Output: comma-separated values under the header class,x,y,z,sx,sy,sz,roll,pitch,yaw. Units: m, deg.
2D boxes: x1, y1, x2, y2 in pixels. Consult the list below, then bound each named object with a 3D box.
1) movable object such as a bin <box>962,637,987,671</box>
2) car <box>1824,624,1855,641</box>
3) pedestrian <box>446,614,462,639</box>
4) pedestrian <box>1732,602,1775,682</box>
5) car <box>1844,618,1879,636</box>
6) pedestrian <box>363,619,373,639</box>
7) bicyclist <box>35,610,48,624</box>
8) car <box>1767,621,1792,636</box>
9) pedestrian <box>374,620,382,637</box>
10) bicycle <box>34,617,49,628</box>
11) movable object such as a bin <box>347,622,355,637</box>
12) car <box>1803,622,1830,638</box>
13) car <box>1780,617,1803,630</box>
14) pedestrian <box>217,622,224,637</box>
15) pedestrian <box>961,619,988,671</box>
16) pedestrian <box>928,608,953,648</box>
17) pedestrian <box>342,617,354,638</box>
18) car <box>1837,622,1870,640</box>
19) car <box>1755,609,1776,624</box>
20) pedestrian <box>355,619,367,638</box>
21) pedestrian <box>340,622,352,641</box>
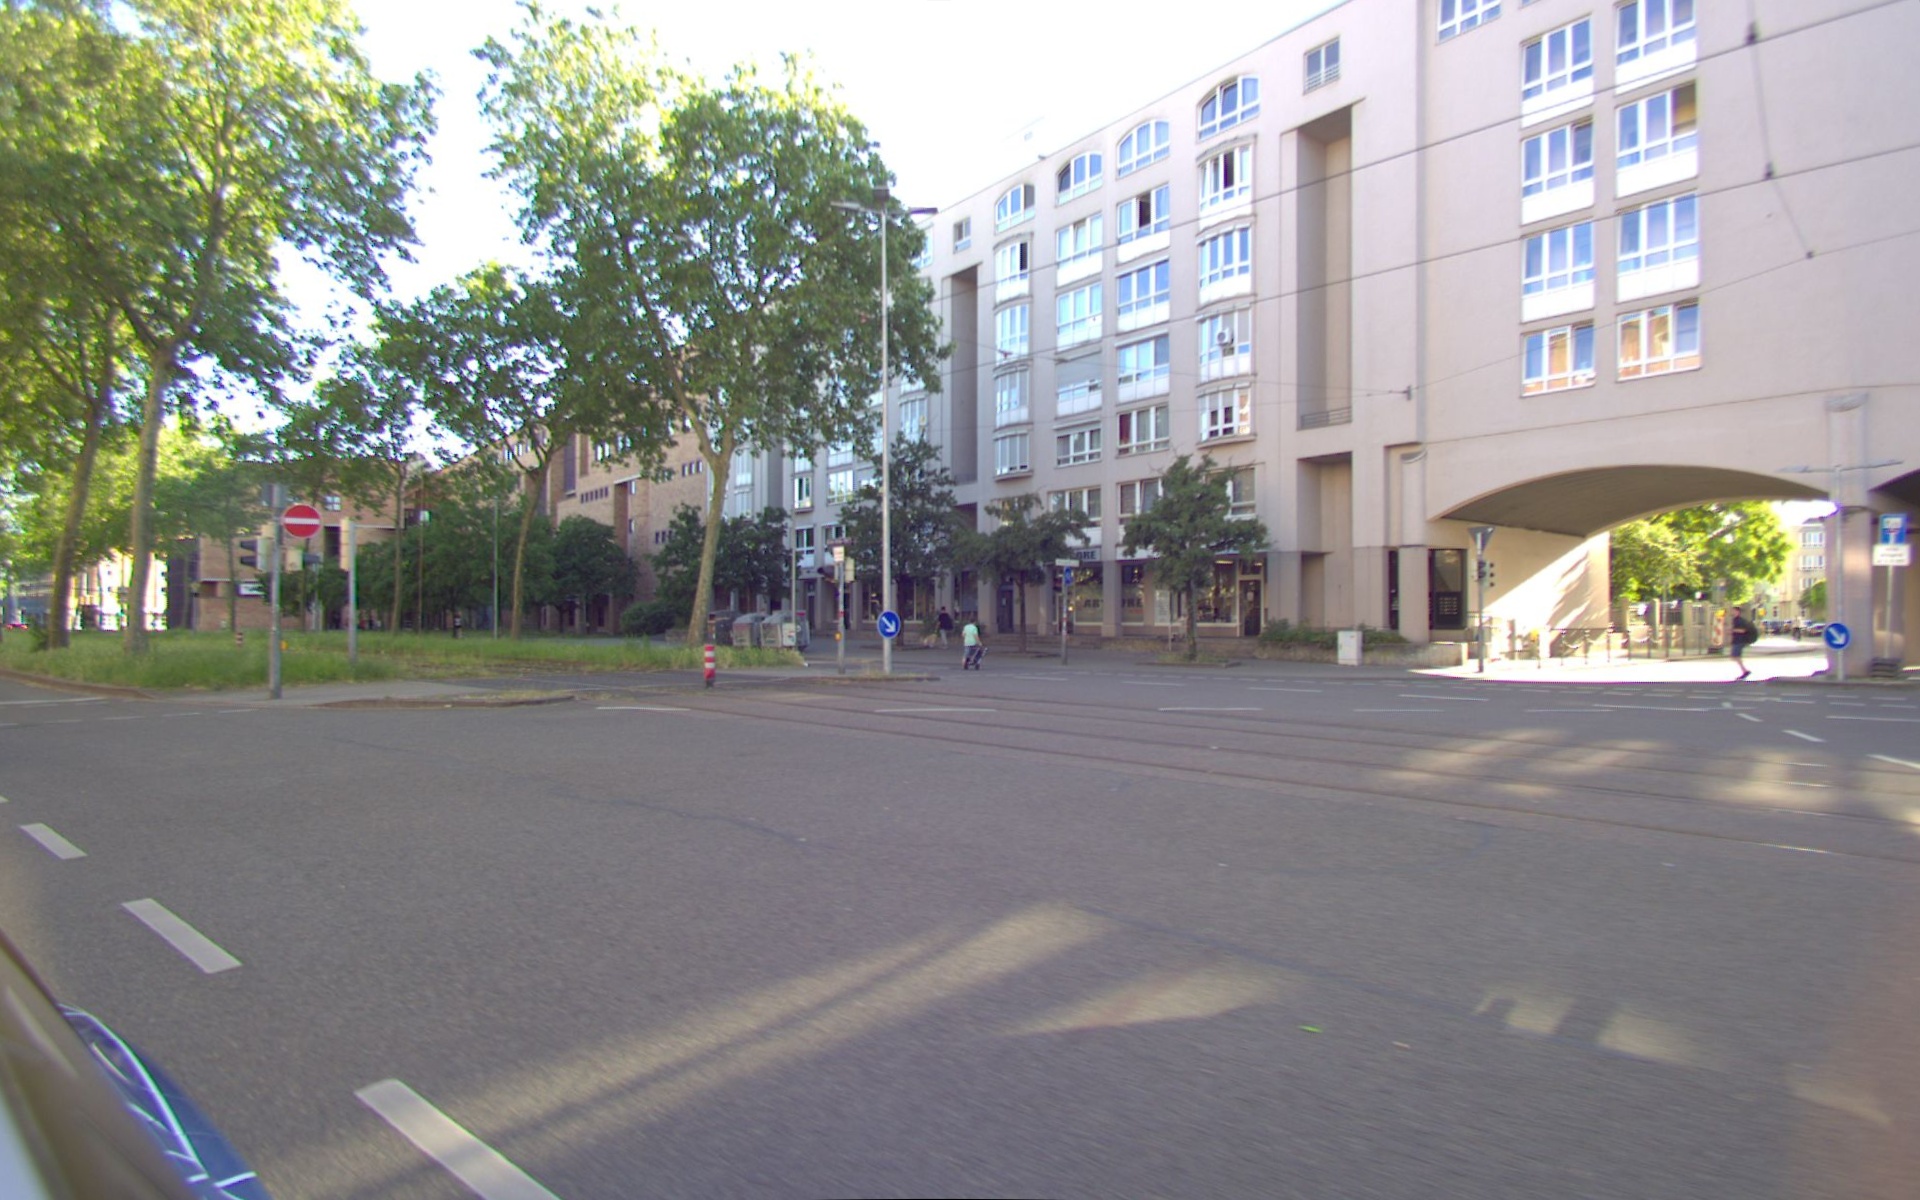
class,x,y,z,sx,sy,sz,roll,pitch,yaw
movable object such as a bin,0.427,1.577,29.544,0.503,0.960,0.541,0,-1,-36
car,75.881,2.771,87.324,1.682,1.405,3.609,-1,-1,36
pedestrian,-37.573,1.977,75.167,0.901,1.845,0.815,-2,-2,41
pedestrian,19.058,1.000,24.313,0.751,1.883,0.846,-1,-2,40
car,69.611,2.069,78.168,1.682,1.405,3.609,-1,-1,36
pedestrian,-50.523,2.464,86.384,0.595,1.692,0.605,-1,-2,39
bicyclist,-103.875,1.883,114.477,1.209,1.583,0.931,-2,-2,41
car,80.743,2.775,99.718,1.682,1.405,3.609,-1,-1,36
pedestrian,-49.783,2.439,86.534,0.463,1.517,0.478,-2,-2,41
bicycle,-104.041,2.542,114.621,2.435,1.134,0.946,0,-1,41
movable object such as a bin,-50.973,2.484,84.668,0.756,1.289,0.352,-2,-2,40
car,79.187,2.773,93.603,1.682,1.405,3.609,-1,-1,36
car,89.094,2.515,108.498,1.682,1.405,3.609,-1,-1,36
pedestrian,-80.249,3.204,109.861,0.651,1.555,0.413,-1,-2,32
pedestrian,0.444,1.341,30.271,0.534,1.515,0.611,-2,-2,43
pedestrian,-0.801,1.165,42.090,0.698,1.651,0.790,0,-1,-39
pedestrian,-51.550,2.309,85.215,0.796,1.735,0.657,-1,-2,39
car,72.697,2.521,82.401,1.682,1.405,3.609,-1,-1,36
car,103.446,2.133,129.984,1.813,1.854,3.953,-1,-1,35
pedestrian,-50.852,2.439,85.983,0.756,1.629,0.657,-1,-2,39
pedestrian,-52.497,2.705,86.545,0.756,1.629,0.657,-1,-2,39
